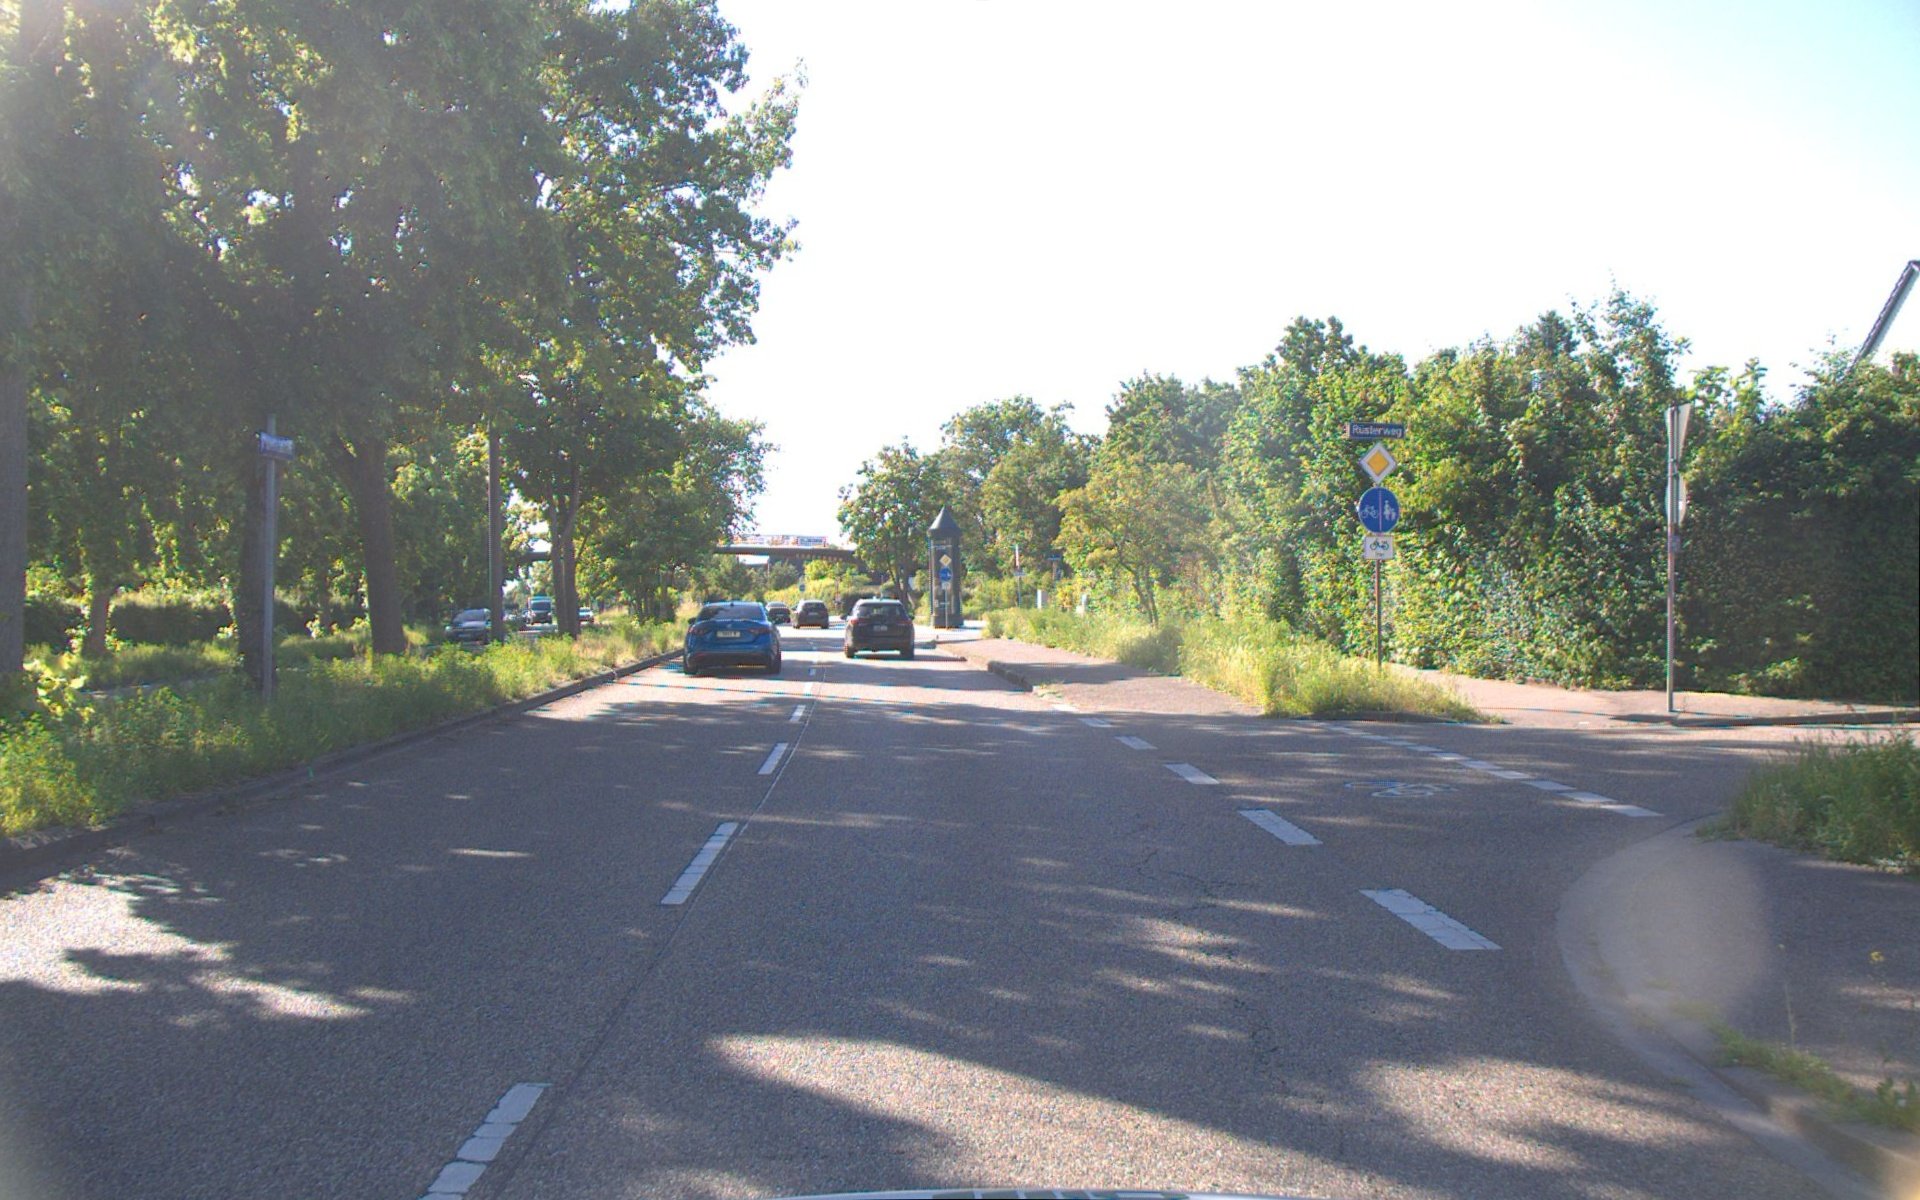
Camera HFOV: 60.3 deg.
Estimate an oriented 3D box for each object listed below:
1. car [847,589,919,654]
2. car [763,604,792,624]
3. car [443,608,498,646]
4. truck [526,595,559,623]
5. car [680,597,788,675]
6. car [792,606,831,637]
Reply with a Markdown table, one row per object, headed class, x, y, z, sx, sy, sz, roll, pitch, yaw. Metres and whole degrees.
| class | x | y | z | sx | sy | sz | roll | pitch | yaw |
| --- | --- | --- | --- | --- | --- | --- | --- | --- | --- |
| car | -2.031 | 0.573 | 42.914 | 1.726 | 1.587 | 3.996 | 1 | -1 | -5 |
| car | -13.181 | 0.971 | 119.391 | 1.864 | 1.379 | 3.991 | -1 | 0 | -10 |
| car | -20.579 | 1.121 | 69.677 | 1.662 | 1.461 | 4.927 | -3 | 0 | -11 |
| truck | -39.987 | 0.876 | 158.214 | 2.143 | 2.556 | 5.702 | -3 | 0 | -22 |
| car | -4.515 | 0.681 | 33.580 | 1.956 | 1.429 | 3.996 | -1 | 0 | -5 |
| car | -8.060 | 1.144 | 89.413 | 1.712 | 1.625 | 4.164 | -1 | 0 | -10 |
